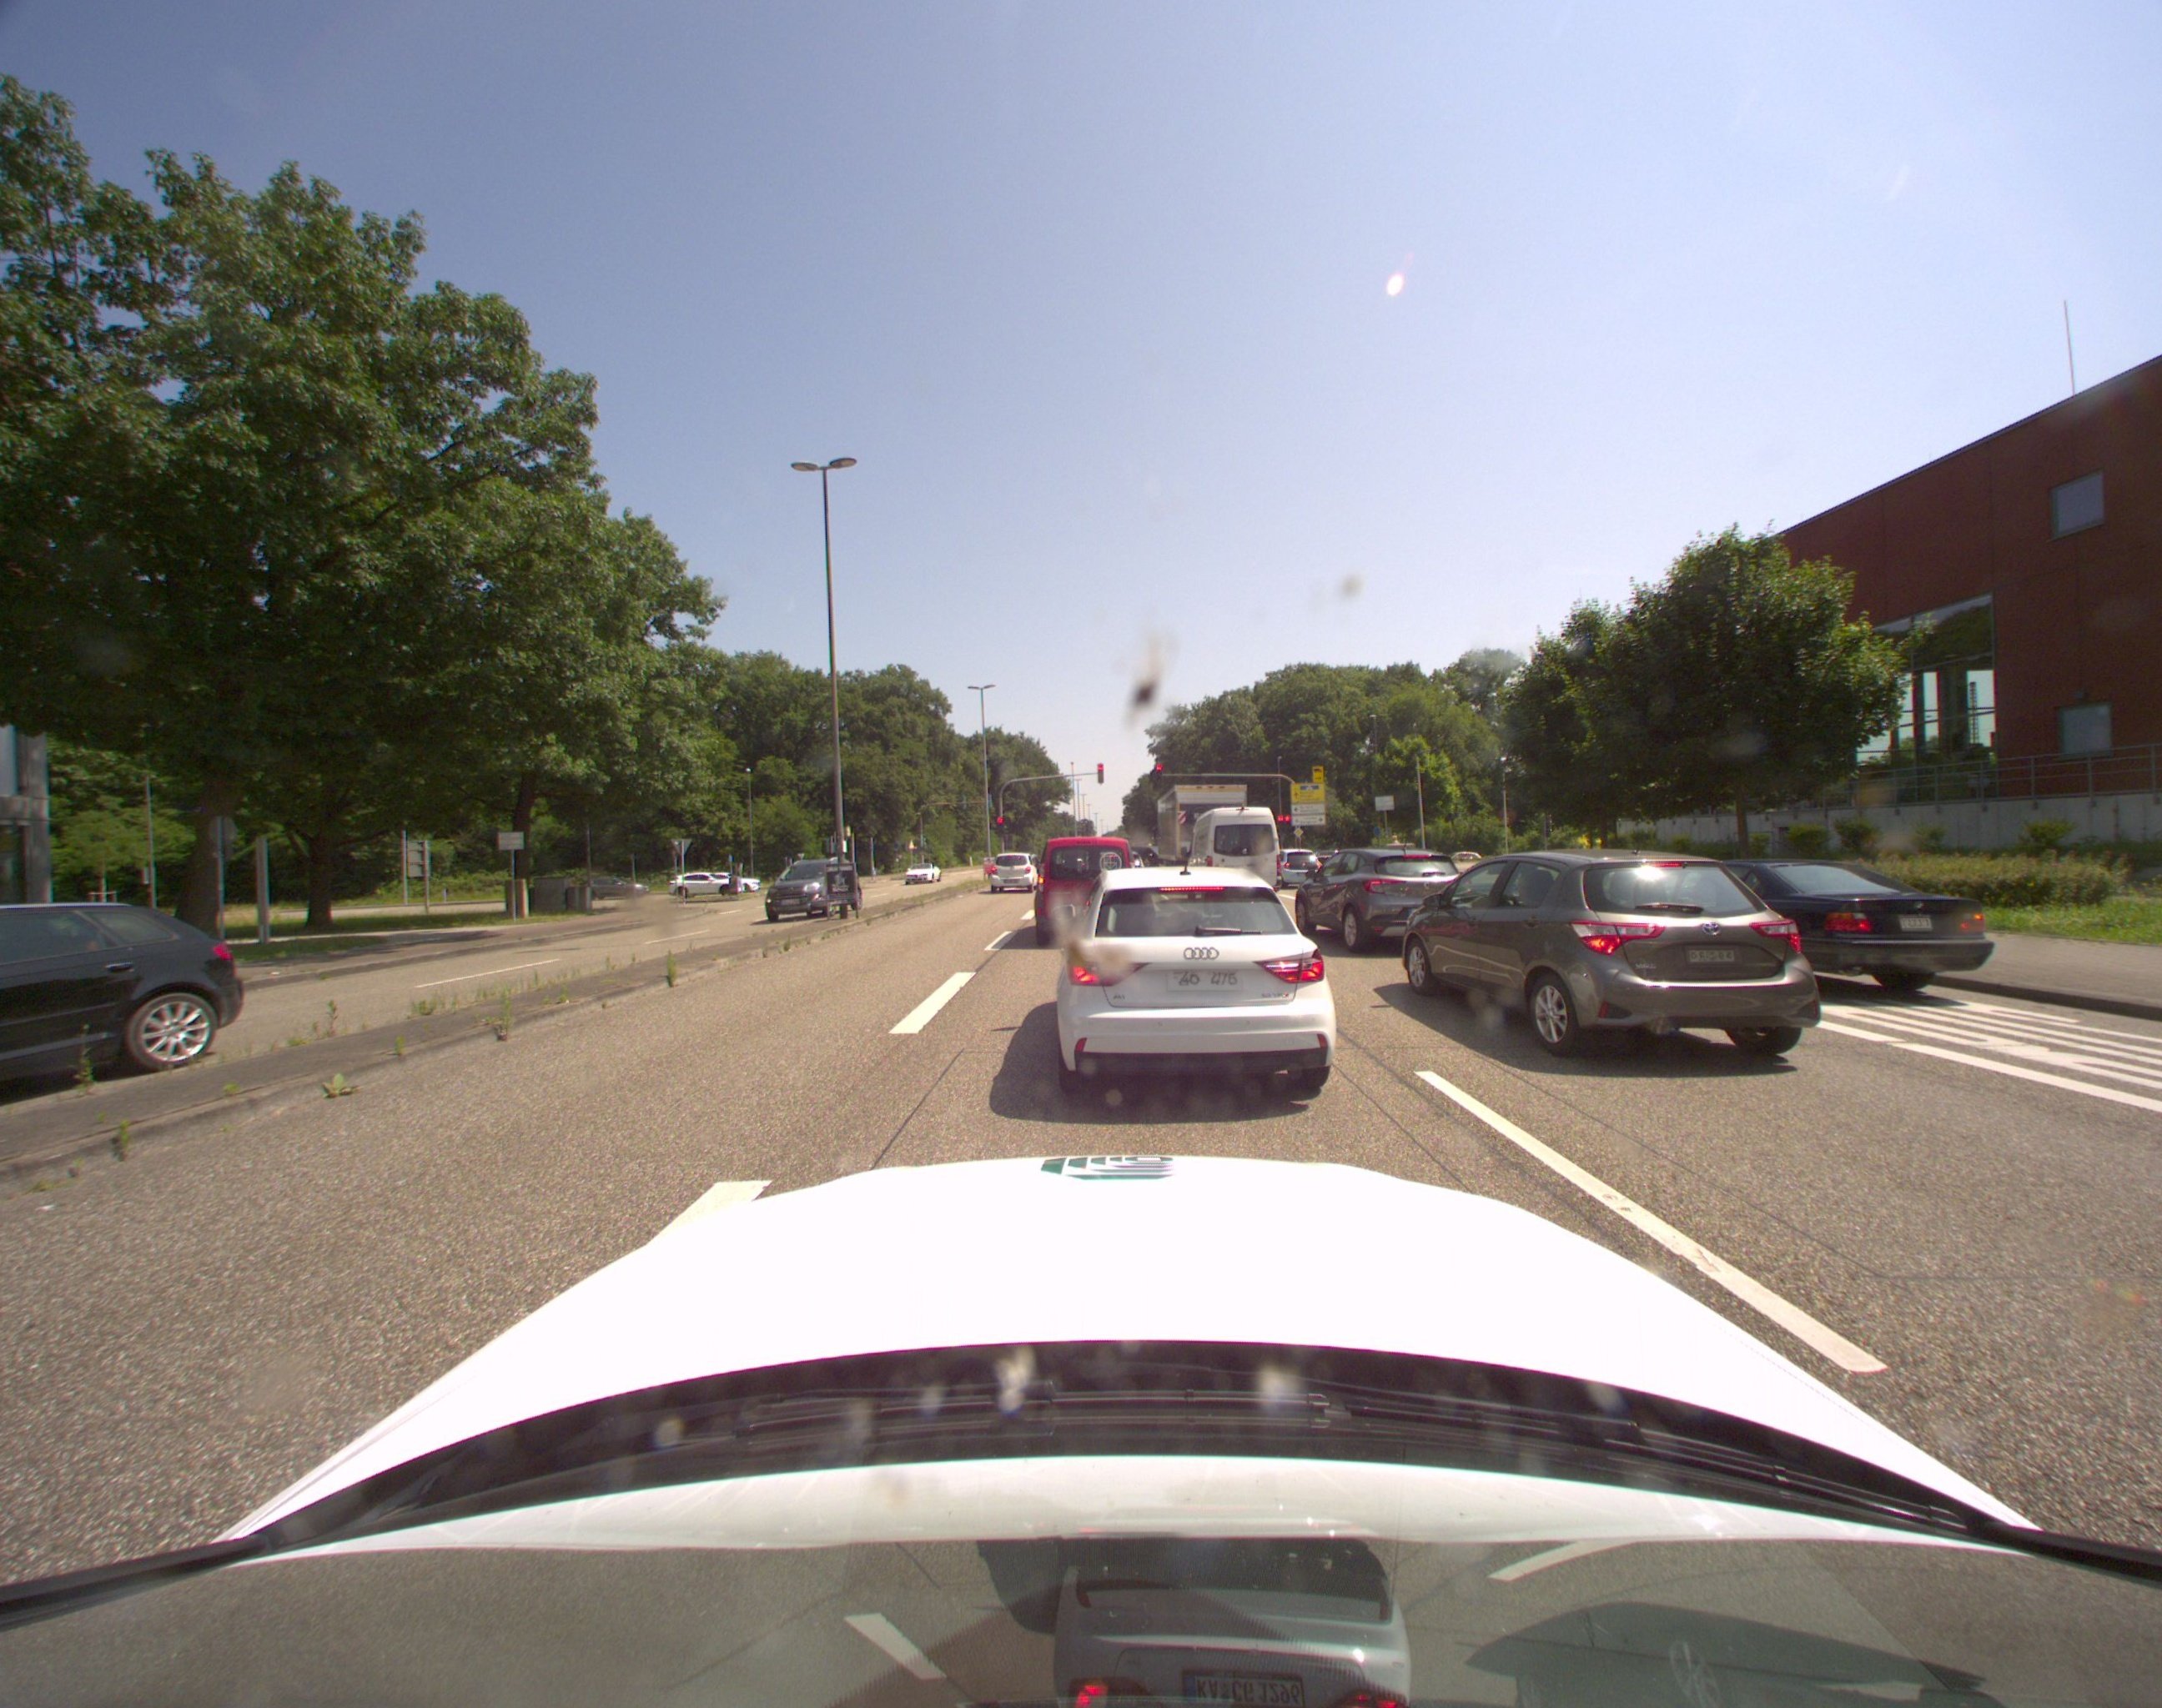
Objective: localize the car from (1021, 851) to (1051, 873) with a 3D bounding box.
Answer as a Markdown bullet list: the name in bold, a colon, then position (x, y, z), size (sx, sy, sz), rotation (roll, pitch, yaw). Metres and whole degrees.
- **car**: position (-4.386, 0.748, 78.878), size (1.997, 2.013, 3.979), rotation (-2, 0, -15)

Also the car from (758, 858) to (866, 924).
- **car**: position (-7.599, 0.976, 23.409), size (1.681, 1.600, 3.884), rotation (-5, 0, 0)

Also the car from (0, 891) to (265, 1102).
- **car**: position (-8.159, 1.072, 5.240), size (1.673, 1.339, 3.999), rotation (-5, 0, 0)

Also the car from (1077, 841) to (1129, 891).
- **car**: position (0.749, 0.395, 29.183), size (1.706, 1.631, 4.091), rotation (-1, 0, 0)

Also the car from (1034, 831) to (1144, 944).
- **car**: position (0.132, 0.521, 14.909), size (1.706, 1.748, 4.091), rotation (-1, 0, 0)

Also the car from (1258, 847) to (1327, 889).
- **car**: position (8.429, 0.530, 32.747), size (1.706, 1.546, 4.091), rotation (-1, 0, 0)

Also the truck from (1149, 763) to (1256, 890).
- **truck**: position (4.791, -0.988, 34.615), size (3.077, 4.434, 11.584), rotation (-1, 0, 2)

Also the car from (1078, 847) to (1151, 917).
- **car**: position (0.800, 0.652, 21.354), size (1.706, 1.631, 4.091), rotation (-1, 0, 0)

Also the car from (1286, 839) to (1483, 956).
- **car**: position (4.754, 0.603, 13.401), size (1.706, 1.593, 4.091), rotation (-1, 0, 0)

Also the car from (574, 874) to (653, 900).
- **car**: position (-32.554, 2.270, 56.815), size (4.370, 1.681, 1.804), rotation (0, -1, -10)

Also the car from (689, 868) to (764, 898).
- **car**: position (-24.930, 2.027, 57.450), size (4.367, 1.681, 1.806), rotation (-6, 0, -7)

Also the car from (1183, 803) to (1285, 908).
- **car**: position (4.223, 0.021, 23.257), size (2.024, 2.644, 4.846), rotation (-1, 0, 1)

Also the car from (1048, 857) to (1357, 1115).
- **car**: position (0.689, 0.747, 6.613), size (1.706, 1.386, 4.091), rotation (-1, 0, 0)

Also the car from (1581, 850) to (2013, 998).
- **car**: position (7.960, 0.646, 9.687), size (1.631, 1.371, 4.147), rotation (0, 0, 2)

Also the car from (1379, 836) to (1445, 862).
- **car**: position (23.593, -0.338, 58.130), size (3.969, 1.689, 1.881), rotation (-2, 0, 4)

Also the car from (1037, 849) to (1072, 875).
- **car**: position (-2.258, 0.666, 68.641), size (1.997, 2.013, 3.979), rotation (-2, 0, -15)

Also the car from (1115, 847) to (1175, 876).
- **car**: position (4.768, 0.559, 61.039), size (3.949, 2.013, 2.012), rotation (-2, 0, 42)

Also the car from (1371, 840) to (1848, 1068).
- **car**: position (4.248, 0.662, 7.458), size (1.706, 1.478, 4.091), rotation (1, 0, 0)

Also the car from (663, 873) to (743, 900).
- **car**: position (-24.843, 2.128, 53.626), size (4.366, 1.681, 1.806), rotation (0, -1, -7)

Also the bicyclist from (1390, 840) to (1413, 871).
- **bicyclist**: position (15.527, 0.063, 39.504), size (0.818, 1.439, 0.603), rotation (-2, 0, 43)

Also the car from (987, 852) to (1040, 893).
- **car**: position (-2.630, 0.692, 32.463), size (1.706, 1.492, 4.091), rotation (-1, 0, 0)

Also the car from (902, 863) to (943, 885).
- **car**: position (-10.632, 1.305, 54.912), size (1.712, 1.262, 4.302), rotation (-4, 0, 1)
